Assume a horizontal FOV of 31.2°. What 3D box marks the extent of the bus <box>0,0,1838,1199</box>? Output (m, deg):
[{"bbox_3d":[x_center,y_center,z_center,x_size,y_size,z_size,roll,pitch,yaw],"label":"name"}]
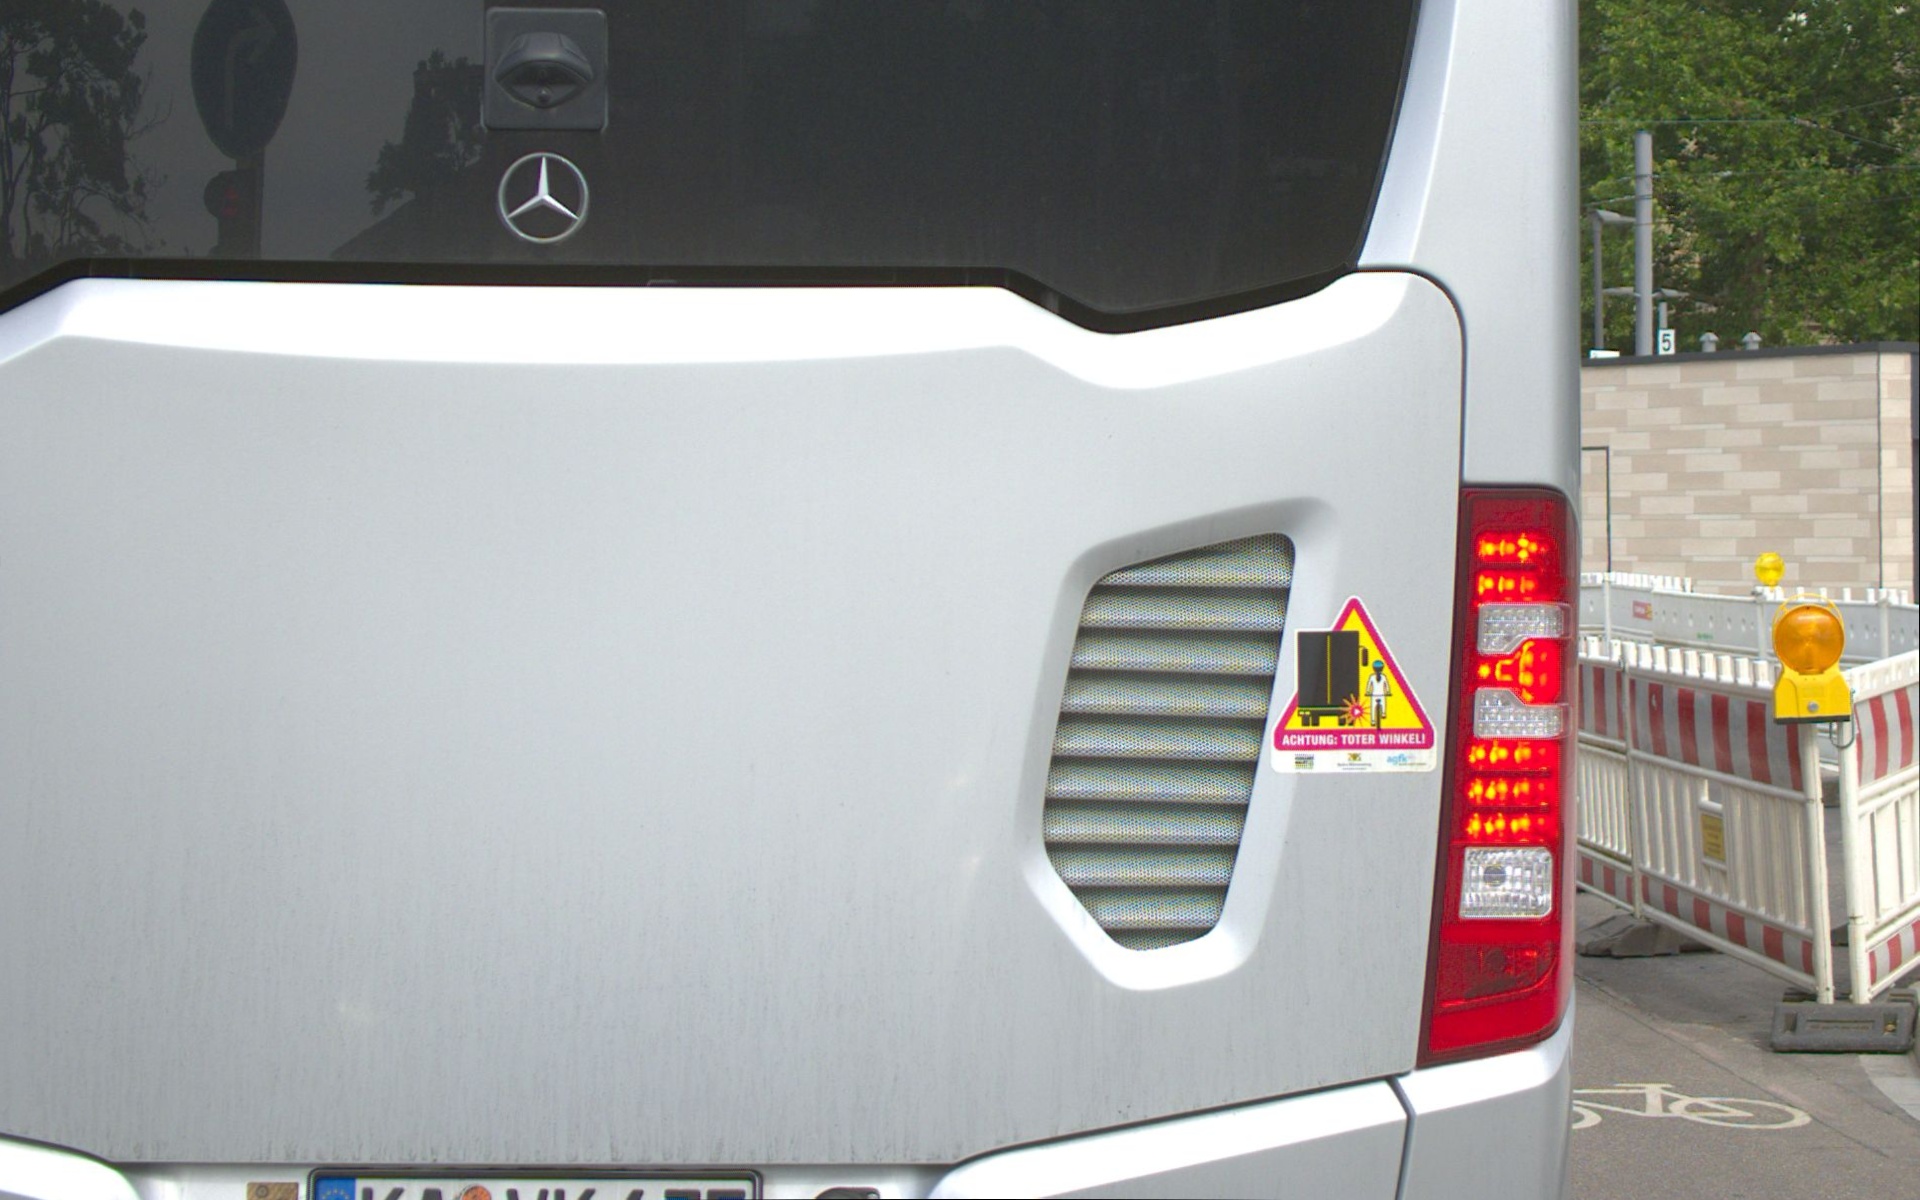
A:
[{"bbox_3d":[-0.645,-0.366,10.720,2.704,3.426,14.185,0,1,-2],"label":"bus"}]
